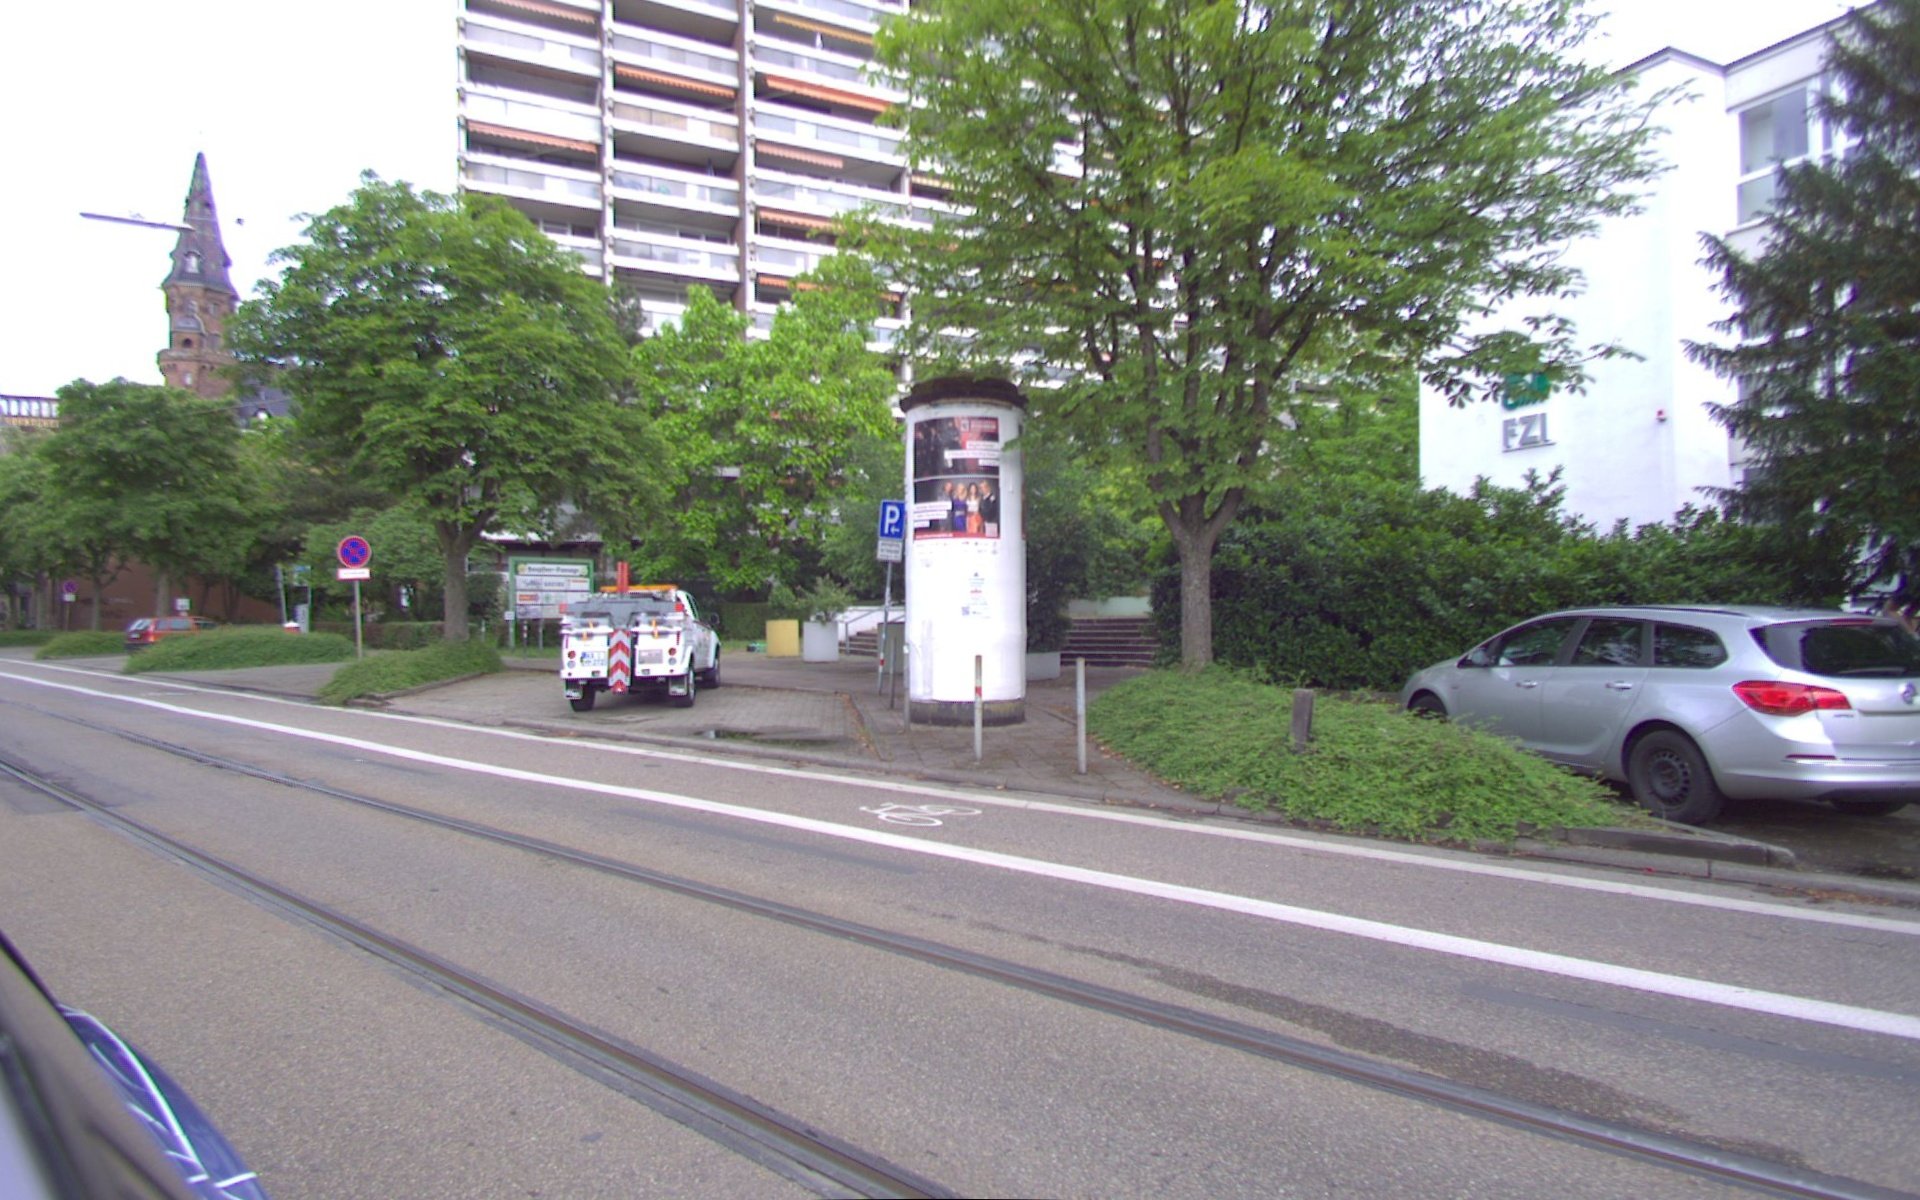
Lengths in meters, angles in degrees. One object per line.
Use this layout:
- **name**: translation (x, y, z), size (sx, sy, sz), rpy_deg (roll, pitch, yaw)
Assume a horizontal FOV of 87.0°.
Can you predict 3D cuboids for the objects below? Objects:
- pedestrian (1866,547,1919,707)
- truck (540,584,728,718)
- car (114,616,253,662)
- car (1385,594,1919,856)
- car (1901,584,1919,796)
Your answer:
- **pedestrian**: translation (12.283, 0.344, 12.971), size (0.456, 2.029, 0.860), rpy_deg (0, -1, -25)
- **truck**: translation (-5.198, 0.734, 16.881), size (1.969, 1.862, 5.071), rpy_deg (-1, 0, -6)
- **car**: translation (-26.693, 1.302, 34.886), size (1.625, 1.387, 3.474), rpy_deg (0, 0, 25)
- **car**: translation (5.478, 0.701, 8.061), size (1.775, 1.476, 4.441), rpy_deg (-1, 0, -9)
- **car**: translation (7.887, 0.641, 5.687), size (1.549, 1.535, 3.656), rpy_deg (-1, 0, -6)
